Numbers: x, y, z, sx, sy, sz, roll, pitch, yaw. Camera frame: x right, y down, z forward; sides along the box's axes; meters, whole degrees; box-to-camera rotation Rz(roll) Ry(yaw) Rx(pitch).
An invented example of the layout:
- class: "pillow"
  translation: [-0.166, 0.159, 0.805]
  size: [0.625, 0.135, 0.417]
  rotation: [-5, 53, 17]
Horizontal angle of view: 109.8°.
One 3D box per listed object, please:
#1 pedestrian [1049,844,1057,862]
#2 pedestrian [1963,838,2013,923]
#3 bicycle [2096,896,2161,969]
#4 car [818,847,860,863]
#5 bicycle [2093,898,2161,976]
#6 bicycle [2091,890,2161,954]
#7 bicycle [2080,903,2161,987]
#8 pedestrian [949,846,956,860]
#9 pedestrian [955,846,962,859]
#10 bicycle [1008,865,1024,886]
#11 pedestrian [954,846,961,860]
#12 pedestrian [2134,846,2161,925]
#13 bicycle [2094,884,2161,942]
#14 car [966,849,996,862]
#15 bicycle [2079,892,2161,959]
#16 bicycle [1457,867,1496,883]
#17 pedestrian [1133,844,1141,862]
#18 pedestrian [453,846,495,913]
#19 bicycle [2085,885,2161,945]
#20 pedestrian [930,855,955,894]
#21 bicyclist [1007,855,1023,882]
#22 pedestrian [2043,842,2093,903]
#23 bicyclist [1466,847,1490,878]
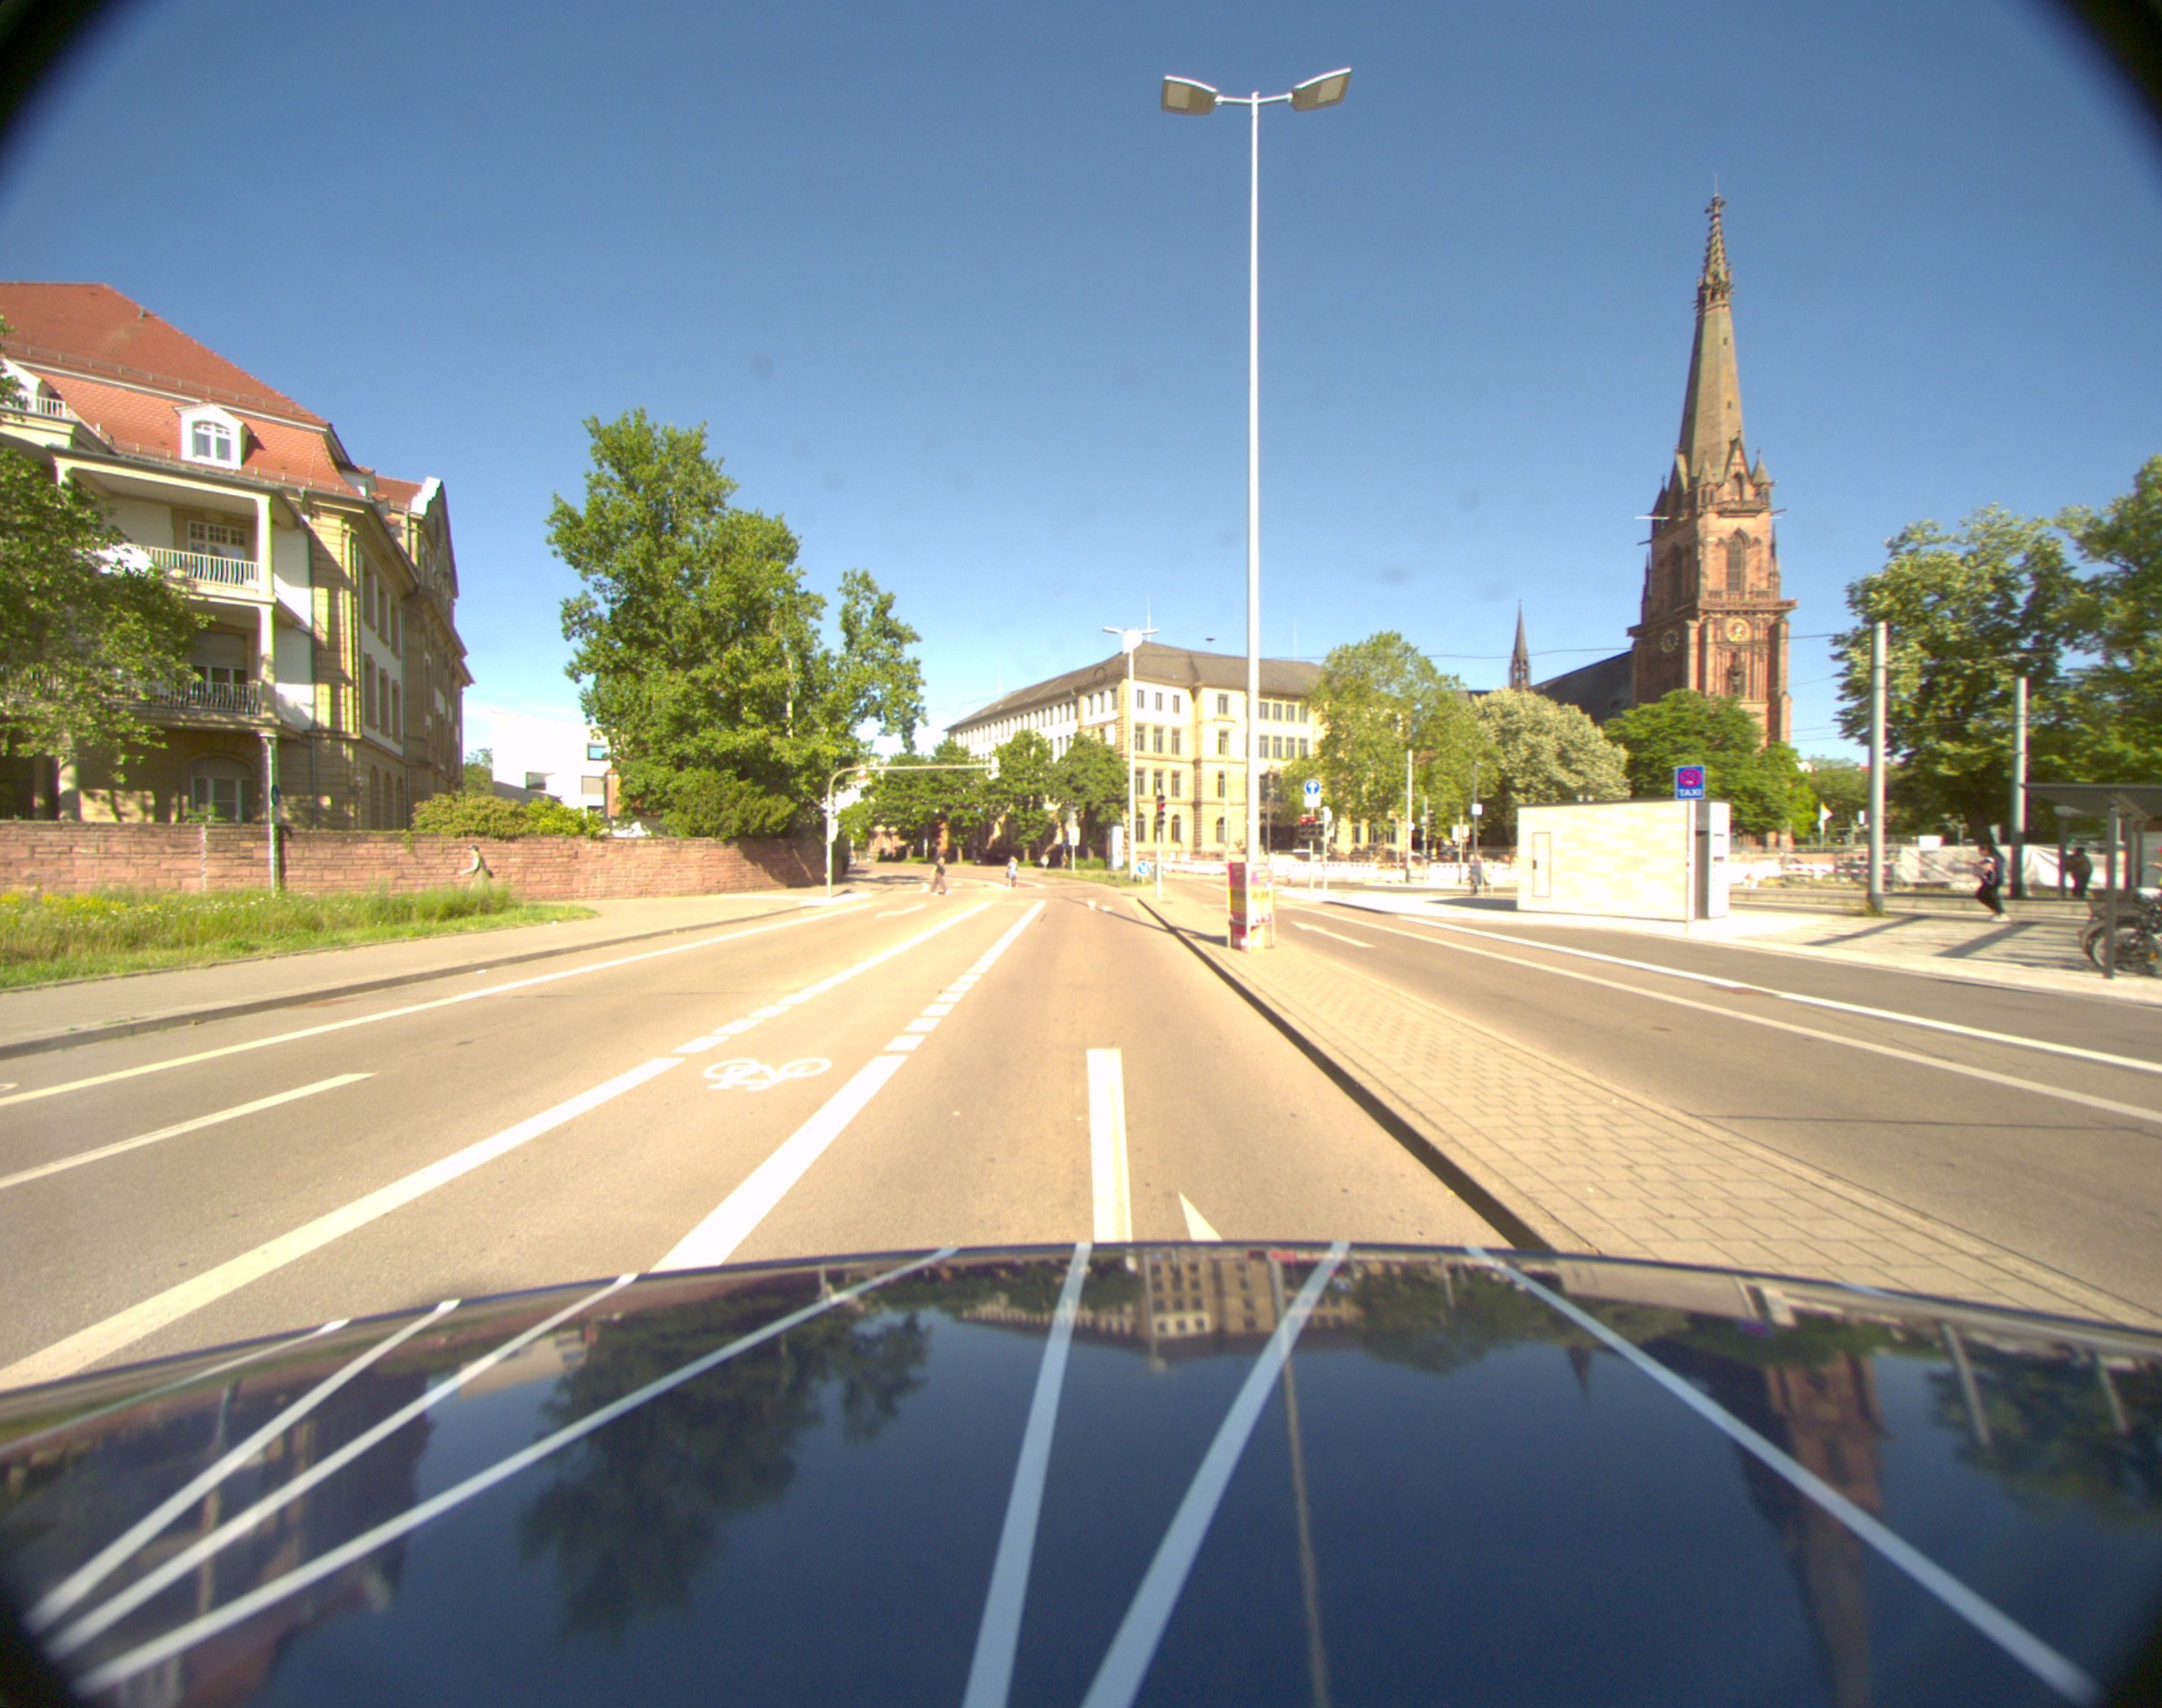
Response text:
- class: "pedestrian"
  translation: [-3.141, -0.108, 85.456]
  size: [0.557, 2.002, 0.645]
  rotation: [-1, 1, -37]
- class: "pedestrian"
  translation: [20.299, 0.584, 17.018]
  size: [0.622, 1.848, 0.700]
  rotation: [0, 0, -41]
- class: "bicycle"
  translation: [16.123, 1.183, 10.987]
  size: [0.407, 0.993, 1.678]
  rotation: [-3, 3, -33]
- class: "car"
  translation: [-27.824, 0.109, 87.144]
  size: [4.838, 1.580, 2.004]
  rotation: [-2, 1, 35]
- class: "bicycle"
  translation: [15.024, 1.166, 10.196]
  size: [0.407, 0.993, 1.678]
  rotation: [-3, 3, -33]
- class: "bicycle"
  translation: [17.959, 1.138, 12.447]
  size: [0.407, 0.993, 1.679]
  rotation: [-3, 2, -33]
- class: "bicycle"
  translation: [13.979, 1.189, 9.539]
  size: [0.407, 0.993, 1.678]
  rotation: [-3, 3, -33]
- class: "pedestrian"
  translation: [-17.802, -0.144, 105.394]
  size: [0.578, 1.893, 0.781]
  rotation: [-1, 1, -36]
- class: "pedestrian"
  translation: [-17.403, -0.187, 107.824]
  size: [0.578, 1.893, 0.849]
  rotation: [-1, 1, -36]
- class: "bicycle"
  translation: [-3.426, 1.123, 39.691]
  size: [0.741, 0.989, 2.305]
  rotation: [-2, 1, -6]
- class: "pedestrian"
  translation: [-17.233, -0.172, 105.835]
  size: [0.578, 1.893, 0.849]
  rotation: [-1, 1, -36]
- class: "pedestrian"
  translation: [22.136, 0.638, 15.514]
  size: [0.621, 1.613, 0.700]
  rotation: [-1, 1, -33]
- class: "bicycle"
  translation: [19.508, 1.065, 13.567]
  size: [0.407, 0.993, 1.679]
  rotation: [-3, 2, -33]
- class: "car"
  translation: [-11.918, 0.147, 90.608]
  size: [1.839, 1.587, 3.989]
  rotation: [-1, 1, -37]
- class: "bicycle"
  translation: [17.179, 1.142, 12.000]
  size: [0.407, 0.993, 1.679]
  rotation: [-3, 2, -33]
- class: "bicycle"
  translation: [20.325, 1.086, 39.036]
  size: [2.055, 0.777, 0.739]
  rotation: [-1, 1, -27]
- class: "pedestrian"
  translation: [5.324, -0.086, 72.369]
  size: [0.540, 1.710, 0.545]
  rotation: [-1, 1, -37]
- class: "pedestrian"
  translation: [-17.162, 0.697, 21.492]
  size: [0.628, 1.847, 0.789]
  rotation: [1, 1, 38]
- class: "bicycle"
  translation: [19.023, 1.085, 13.325]
  size: [0.407, 0.993, 1.679]
  rotation: [-3, 2, -33]
- class: "pedestrian"
  translation: [-5.977, 0.895, 32.819]
  size: [0.932, 1.657, 0.630]
  rotation: [0, 1, 1]
- class: "bicyclist"
  translation: [-3.445, 0.748, 39.671]
  size: [0.741, 1.363, 0.626]
  rotation: [-2, 1, -6]
- class: "pedestrian"
  translation: [30.508, 0.558, 23.496]
  size: [0.619, 1.849, 0.703]
  rotation: [0, 1, 11]
- class: "bicyclist"
  translation: [20.382, 0.442, 39.032]
  size: [0.887, 1.562, 0.739]
  rotation: [-1, 1, -29]
